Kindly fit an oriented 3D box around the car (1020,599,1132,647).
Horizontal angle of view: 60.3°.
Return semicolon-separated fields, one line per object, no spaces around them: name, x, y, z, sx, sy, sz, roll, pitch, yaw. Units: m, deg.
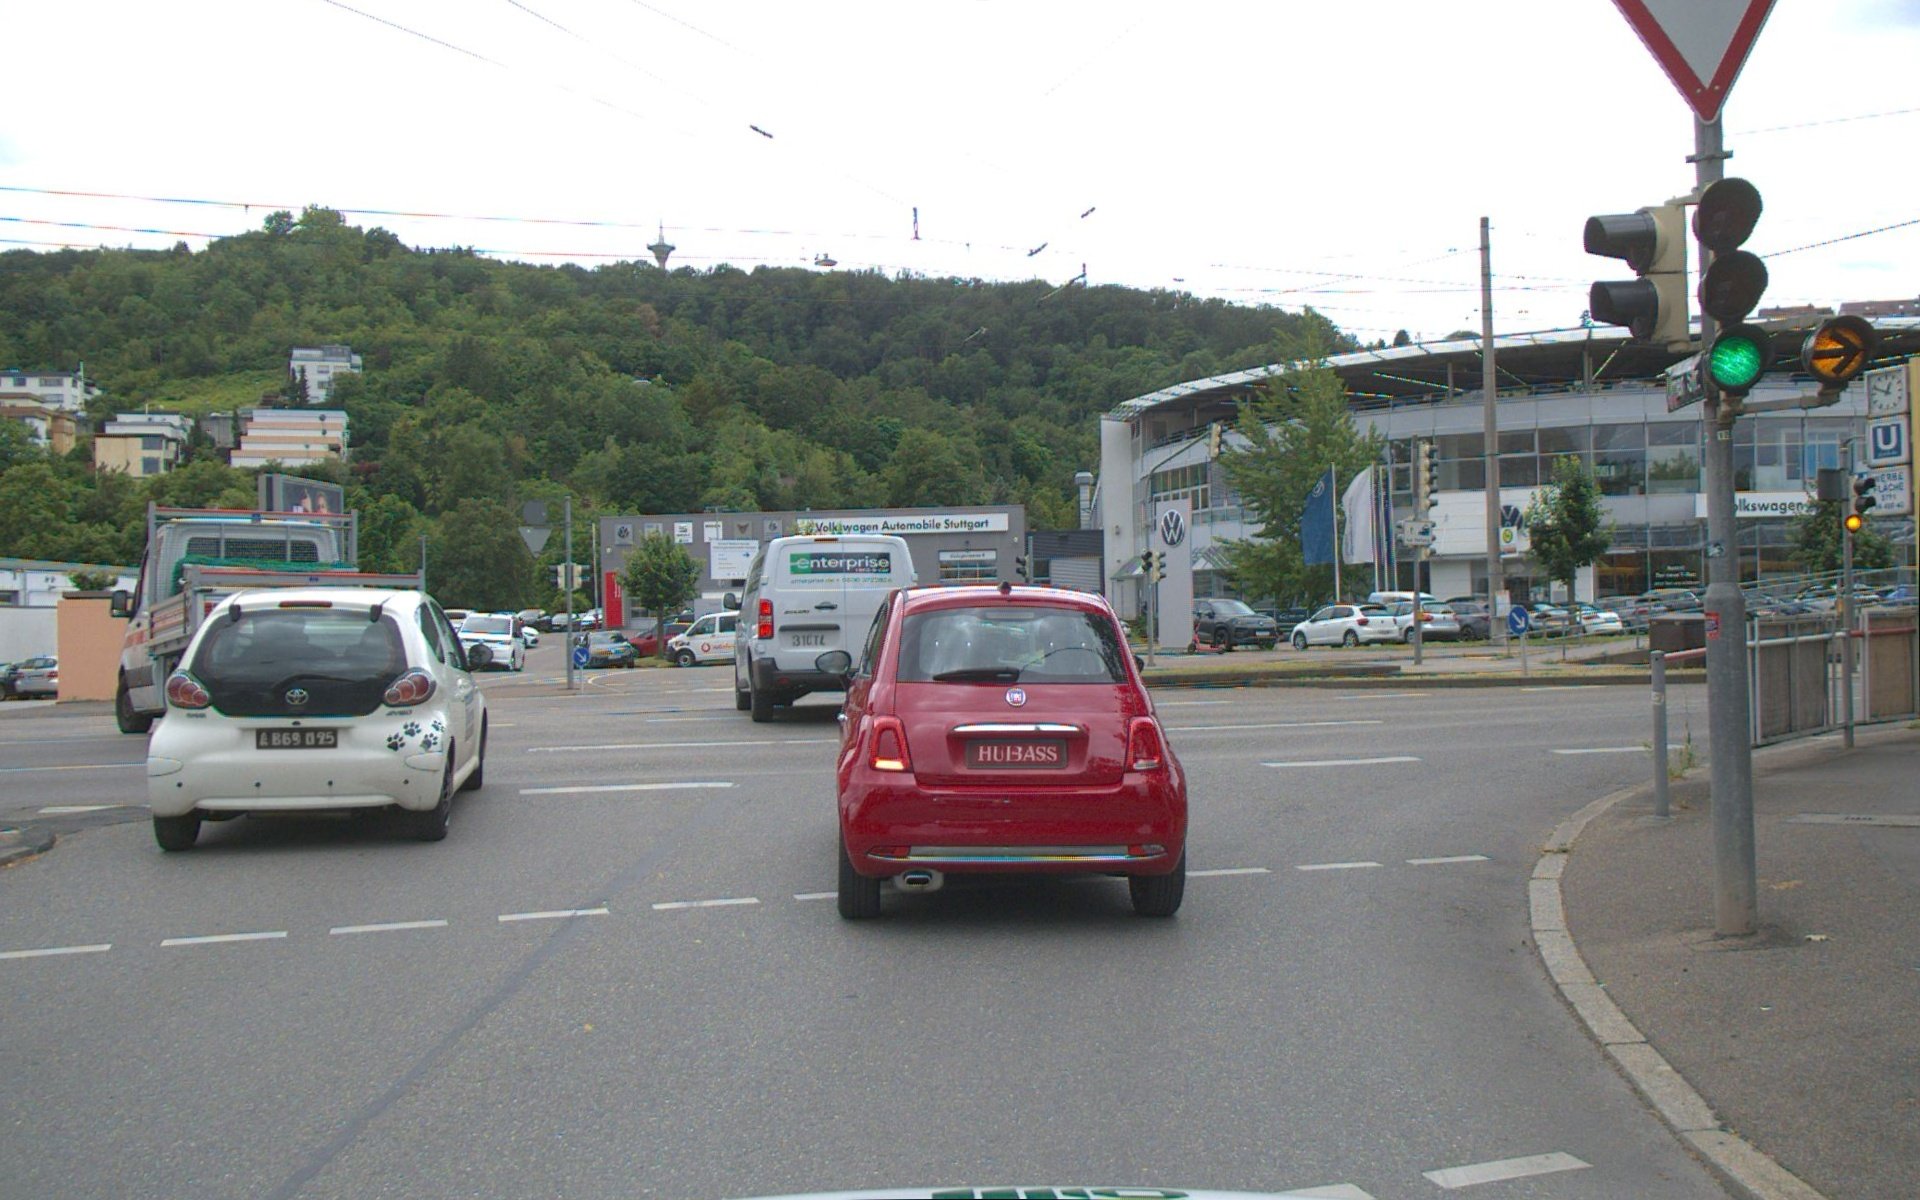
car;4.770;0.970;68.337;4.405;1.759;1.999;2;-2;-2

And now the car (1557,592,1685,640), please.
car;23.484;0.594;58.857;1.899;1.581;3.963;3;-2;-28

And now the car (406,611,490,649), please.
car;-30.468;1.794;98.524;4.411;2.032;1.996;2;-2;-8

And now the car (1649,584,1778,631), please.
car;27.682;0.299;60.891;1.899;1.581;3.963;-2;0;-28

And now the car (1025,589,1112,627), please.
car;5.747;0.441;87.764;4.405;1.759;1.999;2;-2;-2

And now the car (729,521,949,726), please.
car;-1.567;0.325;19.506;1.963;2.076;4.817;2;-2;-11

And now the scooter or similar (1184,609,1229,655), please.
scooter or similar;7.350;0.961;49.323;1.177;1.311;0.575;2;-2;-6

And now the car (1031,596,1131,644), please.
car;5.567;0.946;76.639;4.405;2.032;1.999;2;-2;-1

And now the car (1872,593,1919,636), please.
car;37.765;0.549;64.133;1.892;1.581;3.977;3;-2;-19

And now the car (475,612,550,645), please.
car;-29.399;1.883;108.832;4.411;2.032;1.996;2;-2;-8

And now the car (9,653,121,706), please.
car;-33.756;2.966;62.537;1.954;1.871;4.505;2;-2;-4

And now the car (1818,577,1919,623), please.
car;35.279;0.031;63.447;1.892;1.581;3.977;3;-2;-19

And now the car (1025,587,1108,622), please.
car;5.958;0.269;92.949;4.405;1.759;1.999;2;-2;-2

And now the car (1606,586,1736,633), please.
car;25.612;0.374;59.695;1.899;1.581;3.963;-2;0;-28

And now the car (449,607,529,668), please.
car;-15.659;1.283;55.237;2.039;1.886;4.894;2;-2;-11

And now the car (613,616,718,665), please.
car;-13.439;1.872;75.744;4.405;2.032;1.999;2;-2;-1

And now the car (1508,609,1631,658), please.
car;21.364;1.178;58.128;1.703;1.581;3.963;3;-2;-28

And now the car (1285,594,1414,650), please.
car;12.635;0.733;53.884;1.970;1.669;3.963;3;-2;-28

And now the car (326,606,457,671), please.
car;-21.555;1.483;62.744;4.439;2.282;1.984;3;-3;-25

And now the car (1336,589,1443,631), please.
car;17.634;0.430;68.006;1.906;1.581;3.949;4;-3;-36

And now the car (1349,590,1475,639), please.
car;14.922;0.498;54.770;1.788;1.503;3.963;3;-2;-28

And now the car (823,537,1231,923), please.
car;0.313;0.574;8.955;1.663;1.552;4.000;2;-1;1

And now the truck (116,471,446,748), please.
truck;-7.441;0.123;17.714;2.292;2.464;5.589;0;-1;-33

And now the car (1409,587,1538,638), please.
car;17.241;0.455;55.706;1.899;1.581;3.963;3;-2;-28

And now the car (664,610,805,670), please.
car;-8.522;1.531;62.743;4.897;2.049;2.001;-2;-3;4

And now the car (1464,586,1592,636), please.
car;19.421;0.414;56.698;1.899;1.581;3.963;3;-2;-28

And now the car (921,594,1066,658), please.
car;0.997;0.739;48.538;3.902;1.668;2.002;1;2;13

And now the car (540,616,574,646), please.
car;-28.818;2.260;118.311;1.957;2.032;4.499;2;-2;-10

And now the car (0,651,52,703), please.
car;-36.230;2.863;62.069;1.954;1.871;4.506;2;-2;-3

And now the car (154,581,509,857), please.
car;-3.866;0.624;10.693;1.565;1.445;3.364;-1;1;-11

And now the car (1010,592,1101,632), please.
car;4.789;0.617;83.397;4.405;1.759;1.999;2;-2;-2

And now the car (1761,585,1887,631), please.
car;32.627;0.327;62.576;1.892;1.581;3.977;-2;-1;-19

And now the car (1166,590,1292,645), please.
car;8.481;0.556;52.413;1.971;1.669;3.963;0;-1;-28

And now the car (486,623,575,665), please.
car;-22.690;2.319;87.433;4.419;2.032;1.992;3;-2;-14

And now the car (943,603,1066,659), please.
car;1.504;1.093;57.125;3.914;1.736;1.995;2;-2;-10
